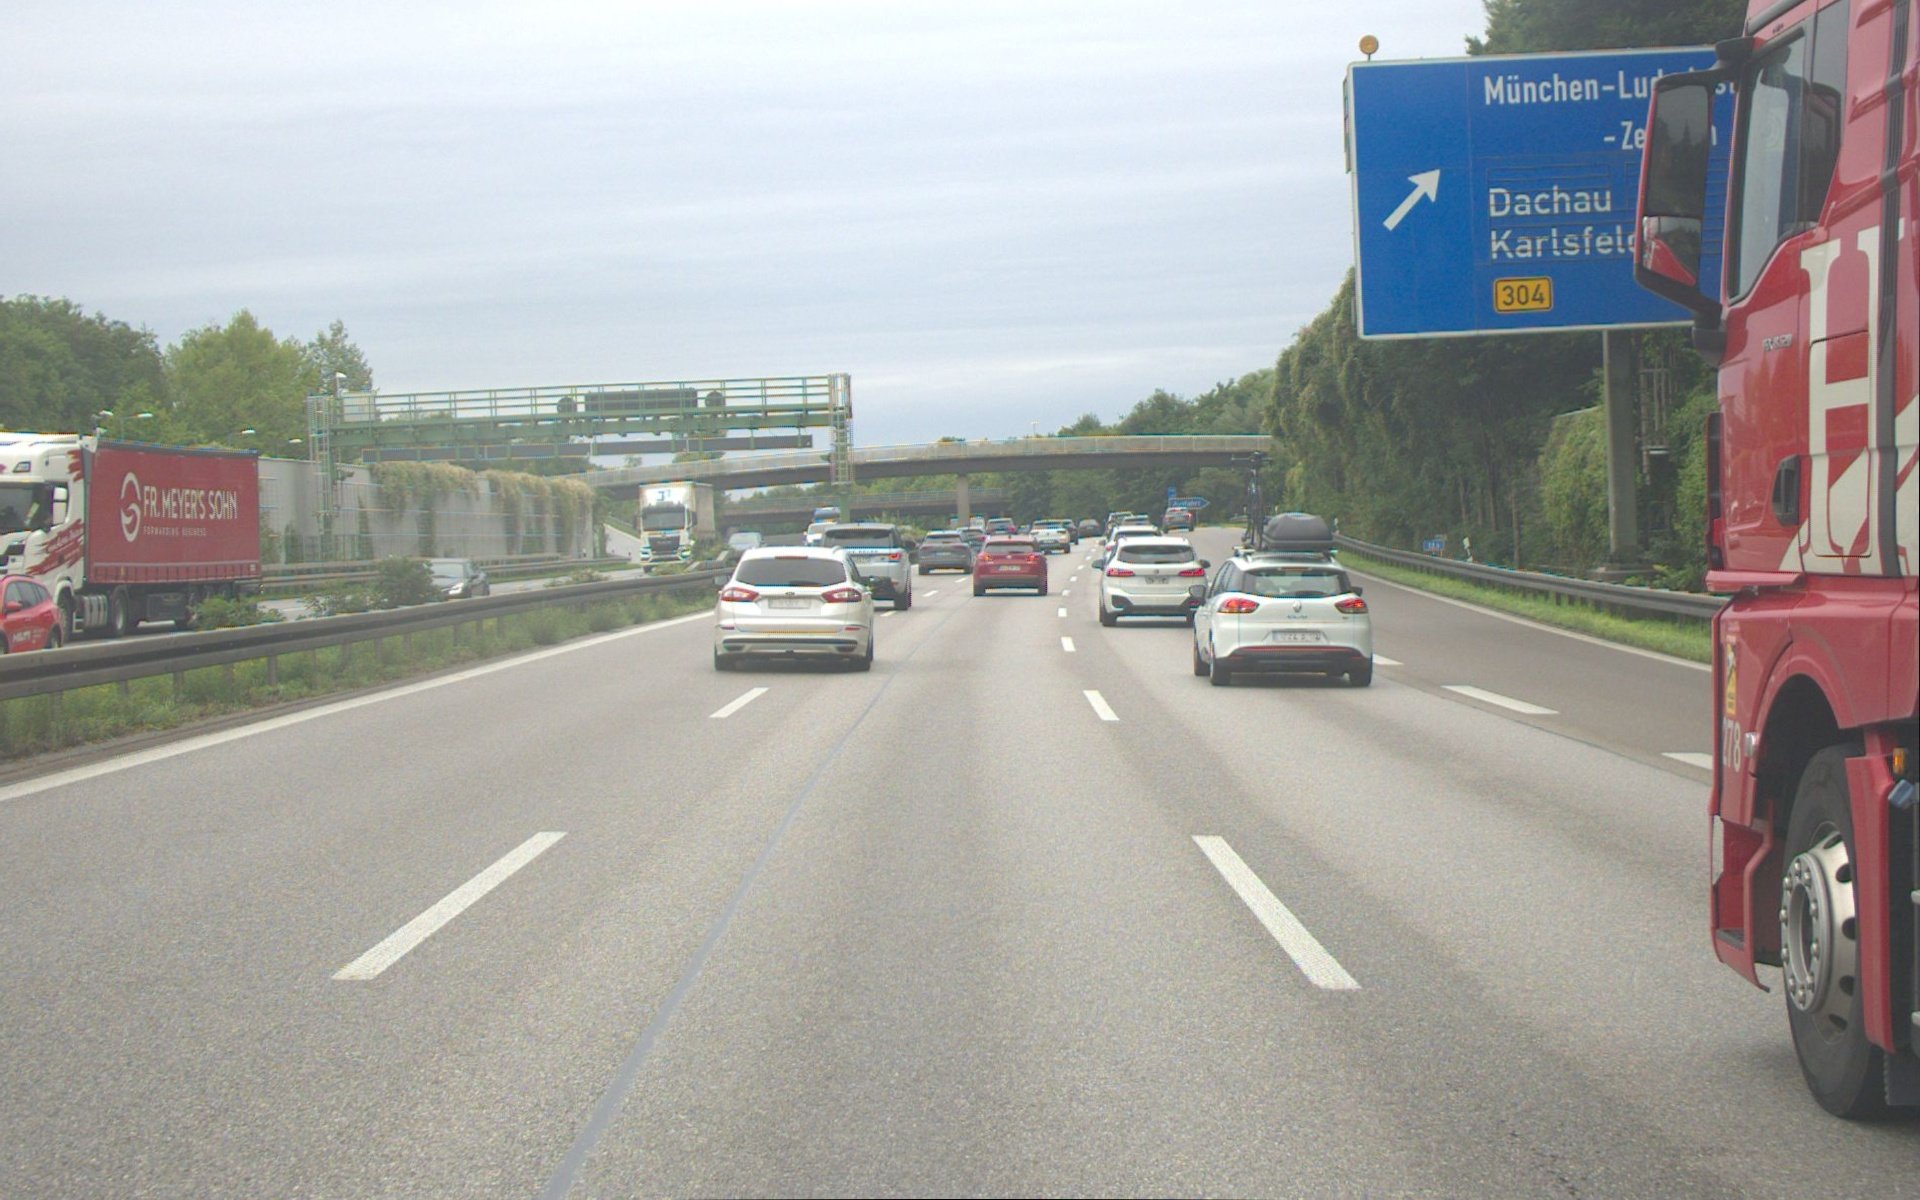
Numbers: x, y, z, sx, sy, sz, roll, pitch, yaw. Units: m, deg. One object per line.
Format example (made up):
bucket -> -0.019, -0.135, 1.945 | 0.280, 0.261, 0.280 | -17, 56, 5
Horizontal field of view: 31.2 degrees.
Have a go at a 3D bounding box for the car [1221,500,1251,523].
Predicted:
car -> 17.585, -5.630, 219.217 | 1.689, 1.417, 3.871 | 0, 1, 2

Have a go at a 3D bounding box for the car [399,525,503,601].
car -> -12.734, -0.945, 86.189 | 1.993, 1.733, 4.001 | 1, 3, 0

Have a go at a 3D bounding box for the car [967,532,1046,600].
car -> 1.157, -0.856, 83.879 | 1.689, 1.501, 3.871 | 4, 1, 3

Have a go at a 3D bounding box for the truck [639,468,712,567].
truck -> -13.141, -3.810, 159.224 | 2.649, 4.458, 5.283 | -1, 1, 3

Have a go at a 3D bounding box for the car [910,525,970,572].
car -> -0.651, -1.727, 114.735 | 1.689, 1.501, 3.871 | -2, 1, 4

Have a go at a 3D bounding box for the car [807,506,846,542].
car -> -7.876, -4.462, 203.015 | 1.993, 2.007, 4.909 | 0, 0, 2

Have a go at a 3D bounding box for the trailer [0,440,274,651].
trailer -> -17.825, -1.200, 74.020 | 2.745, 4.113, 13.687 | 0, 1, 3

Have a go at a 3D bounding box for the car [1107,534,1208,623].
car -> 3.407, -0.370, 59.936 | 1.689, 1.501, 3.871 | 0, 0, 2

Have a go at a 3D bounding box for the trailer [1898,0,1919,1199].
trailer -> 3.595, -0.447, 1.236 | 2.668, 3.925, 13.131 | 0, 1, -1

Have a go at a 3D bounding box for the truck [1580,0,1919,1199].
truck -> 3.503, -0.555, 8.350 | 2.695, 3.899, 6.557 | 0, 2, -1

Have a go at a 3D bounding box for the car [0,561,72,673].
car -> -14.301, 0.229, 49.670 | 1.771, 1.564, 4.718 | 0, 0, -1

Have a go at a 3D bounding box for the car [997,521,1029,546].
car -> 3.003, -3.739, 193.464 | 1.689, 1.417, 3.871 | 0, 1, 2

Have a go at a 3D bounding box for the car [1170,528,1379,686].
car -> 3.432, 0.052, 38.332 | 1.816, 1.620, 5.030 | 1, 0, 0

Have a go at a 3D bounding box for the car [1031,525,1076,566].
car -> 4.167, -2.430, 152.854 | 1.790, 1.773, 3.871 | -1, 0, 4

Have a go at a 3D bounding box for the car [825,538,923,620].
car -> -1.727, -0.458, 70.317 | 1.689, 1.501, 3.871 | 4, 1, 2

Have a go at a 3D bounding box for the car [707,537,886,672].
car -> -1.919, 0.025, 41.675 | 1.892, 1.499, 5.030 | 1, 1, 0

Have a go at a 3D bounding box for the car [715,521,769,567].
car -> -9.783, -2.500, 154.773 | 1.993, 2.007, 4.909 | 0, 0, 2

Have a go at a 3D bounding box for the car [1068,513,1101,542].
car -> 6.791, -3.956, 187.513 | 1.689, 1.534, 3.871 | 0, 1, 4

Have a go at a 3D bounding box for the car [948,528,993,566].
car -> 0.488, -2.297, 149.906 | 1.689, 1.634, 3.871 | -1, 0, 4

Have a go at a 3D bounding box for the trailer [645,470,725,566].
trailer -> -12.967, -3.869, 162.911 | 2.668, 4.429, 8.573 | -1, 1, 3

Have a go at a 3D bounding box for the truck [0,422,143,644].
truck -> -18.135, -1.290, 67.110 | 2.668, 4.113, 5.916 | -1, 1, 3

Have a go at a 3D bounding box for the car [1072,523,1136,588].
car -> 4.072, -1.266, 96.949 | 1.689, 1.773, 3.871 | -1, 1, 4

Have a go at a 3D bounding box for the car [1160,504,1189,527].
car -> 13.443, -5.299, 215.541 | 1.689, 1.417, 3.871 | 0, 1, 2
